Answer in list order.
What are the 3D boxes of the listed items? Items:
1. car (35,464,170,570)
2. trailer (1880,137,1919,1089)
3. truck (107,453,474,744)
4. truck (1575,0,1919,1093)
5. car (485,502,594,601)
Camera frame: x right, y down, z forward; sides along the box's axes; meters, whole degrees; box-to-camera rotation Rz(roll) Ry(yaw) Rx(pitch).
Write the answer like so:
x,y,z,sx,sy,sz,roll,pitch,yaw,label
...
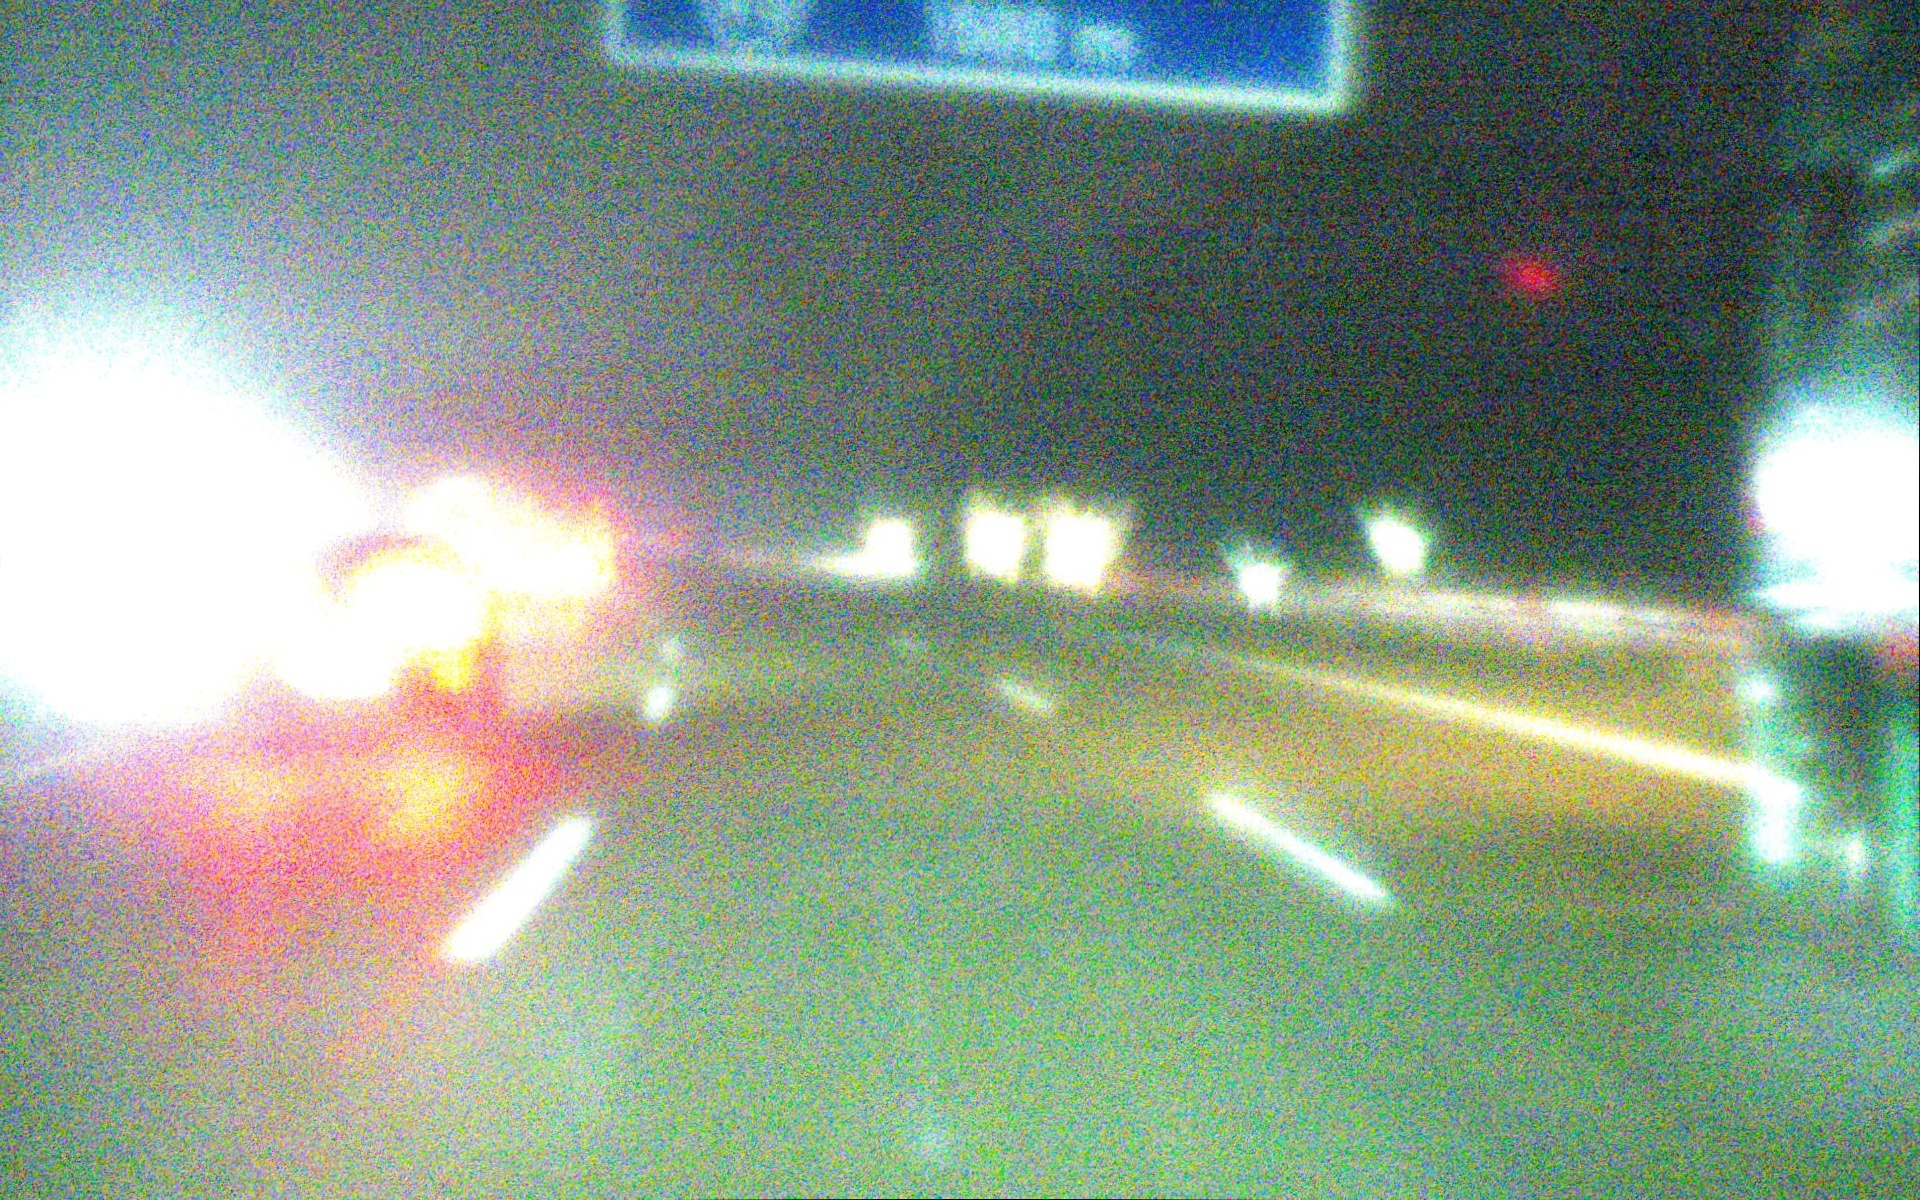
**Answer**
x,y,z,sx,sy,sz,roll,pitch,yaw,label
-18.449,-1.836,74.166,1.993,2.006,5.198,4,2,-6,car
4.608,-0.579,4.244,2.739,4.234,13.372,3,0,-2,trailer
-5.341,-0.146,28.350,2.144,2.070,6.605,1,3,-4,truck
4.208,-0.641,12.039,2.710,4.226,5.294,4,1,-2,truck
-9.583,-1.133,78.579,1.993,2.006,4.001,4,2,-2,car
